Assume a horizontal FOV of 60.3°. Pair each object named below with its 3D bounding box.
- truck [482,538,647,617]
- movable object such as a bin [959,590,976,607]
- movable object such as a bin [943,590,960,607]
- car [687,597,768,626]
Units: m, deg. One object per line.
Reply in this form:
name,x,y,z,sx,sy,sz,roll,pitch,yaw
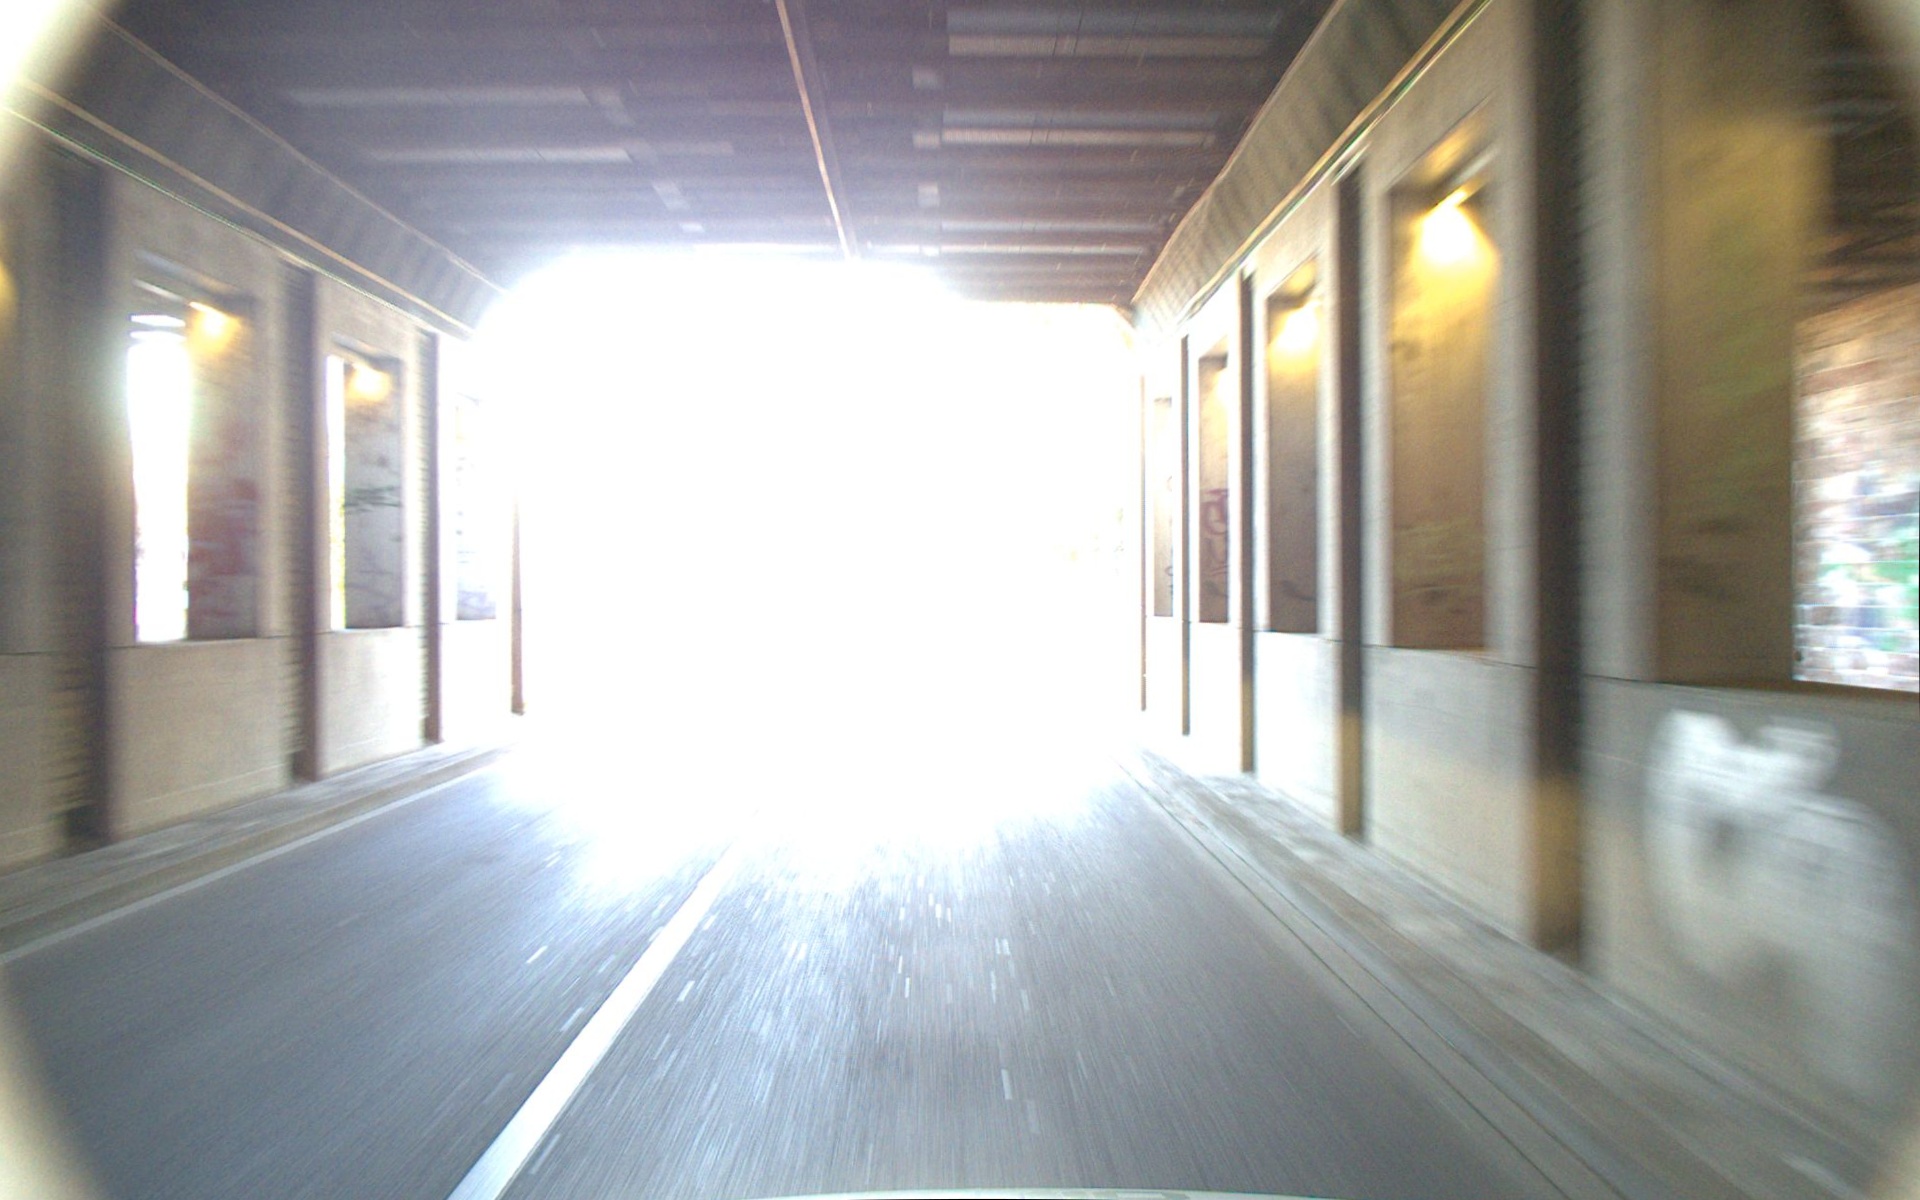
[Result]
truck,-21.211,-1.130,88.521,9.126,3.951,2.707,-1,-2,28
movable object such as a bin,0.672,-0.108,144.629,1.339,1.443,1.064,1,-1,-8
movable object such as a bin,-0.706,-0.139,144.392,1.339,1.443,1.064,1,-1,-8
car,-12.970,0.652,92.334,4.127,1.516,1.875,1,-1,26
